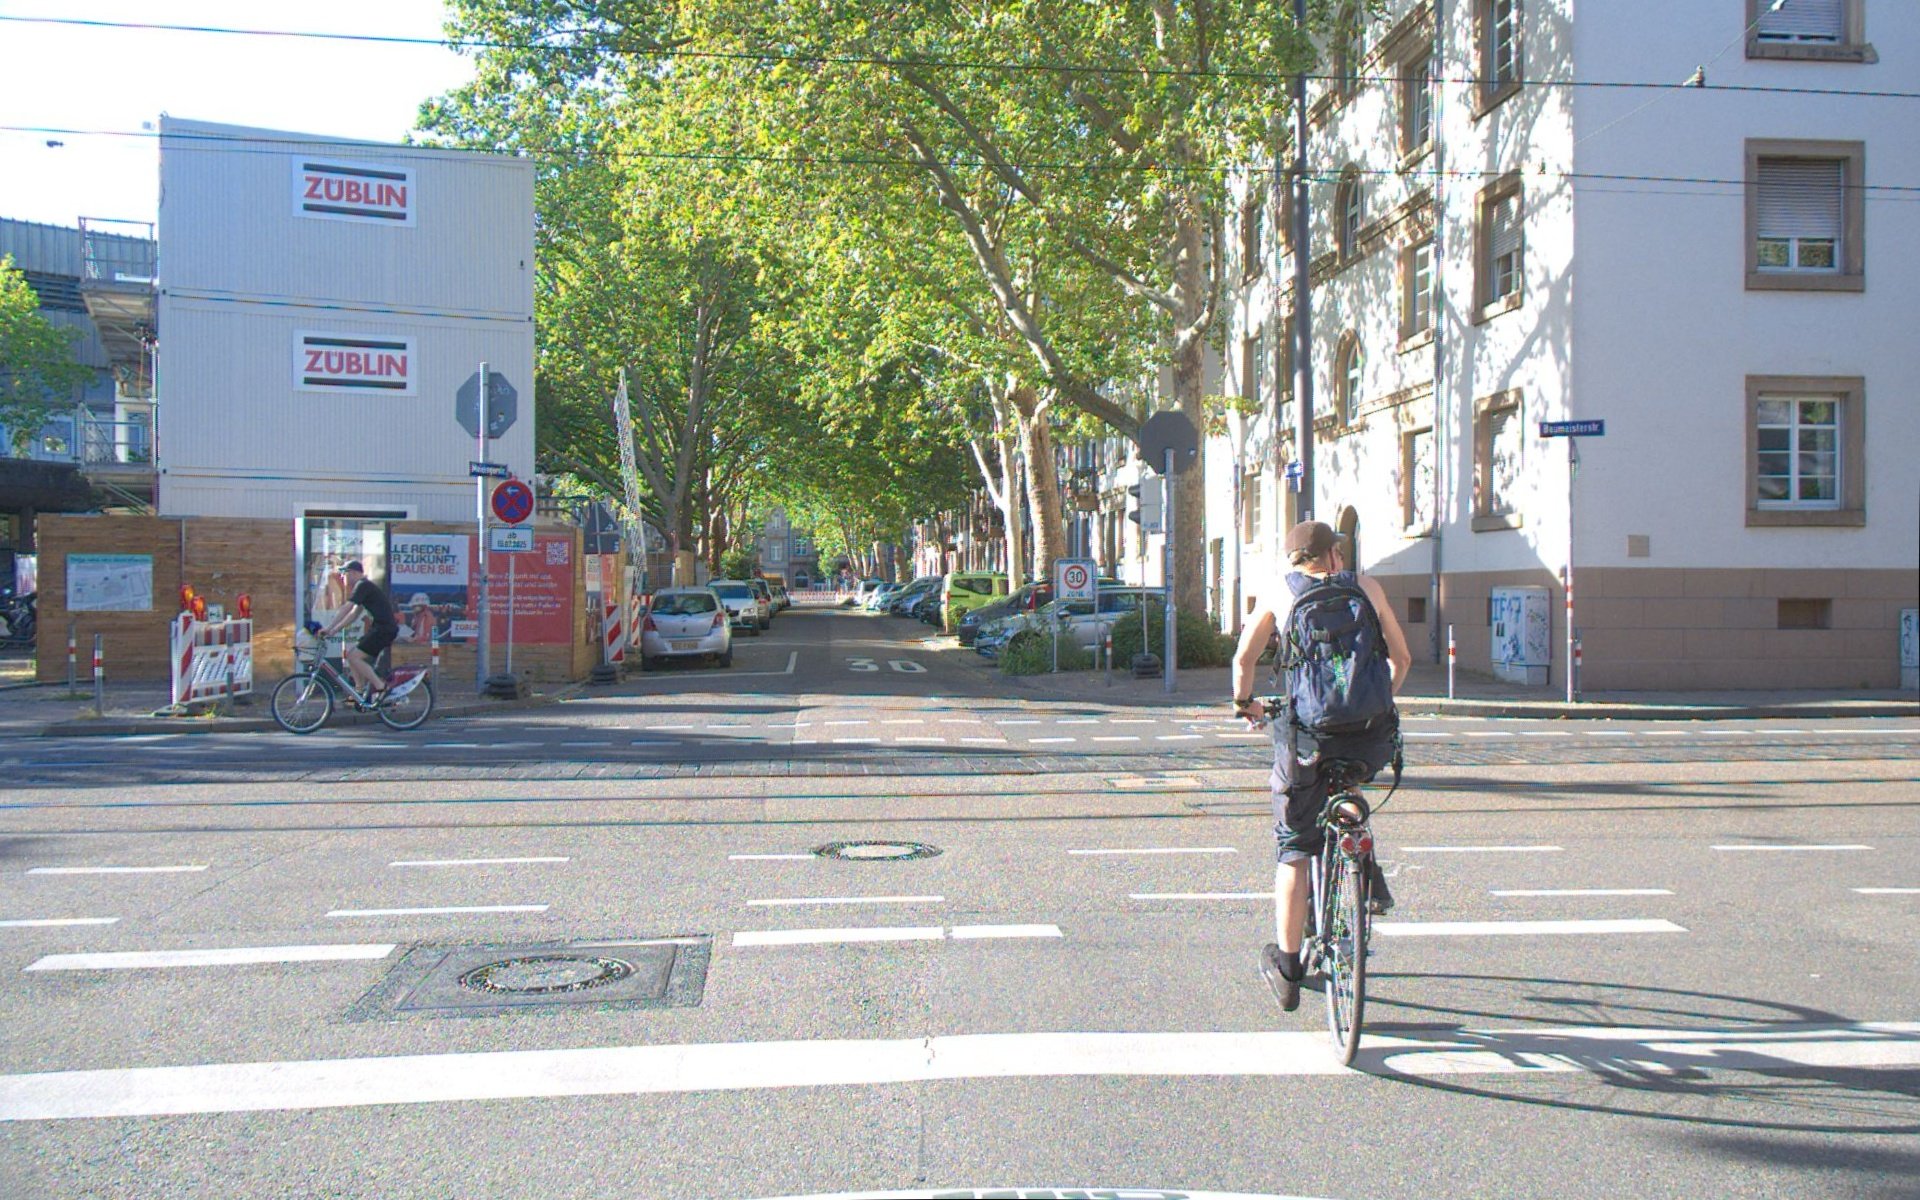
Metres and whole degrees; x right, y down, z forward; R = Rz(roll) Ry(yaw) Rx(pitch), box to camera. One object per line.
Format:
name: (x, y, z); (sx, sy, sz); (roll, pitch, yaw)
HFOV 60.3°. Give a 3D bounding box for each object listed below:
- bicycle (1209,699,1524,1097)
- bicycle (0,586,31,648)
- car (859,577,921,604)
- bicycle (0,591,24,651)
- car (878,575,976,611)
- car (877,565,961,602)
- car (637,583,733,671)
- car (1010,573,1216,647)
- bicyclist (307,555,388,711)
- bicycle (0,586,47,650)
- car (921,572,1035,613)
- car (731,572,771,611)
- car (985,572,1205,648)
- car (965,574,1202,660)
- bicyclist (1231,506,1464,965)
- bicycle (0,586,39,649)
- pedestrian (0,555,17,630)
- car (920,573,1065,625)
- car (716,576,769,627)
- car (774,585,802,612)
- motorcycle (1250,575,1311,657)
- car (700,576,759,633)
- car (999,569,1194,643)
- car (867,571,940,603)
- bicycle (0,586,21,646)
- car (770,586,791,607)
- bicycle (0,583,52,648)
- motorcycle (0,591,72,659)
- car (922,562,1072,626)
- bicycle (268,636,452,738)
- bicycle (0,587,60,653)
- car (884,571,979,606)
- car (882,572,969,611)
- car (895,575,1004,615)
bicycle: (1.349, 0.941, 5.865); (0.675, 1.034, 1.908); (1, 0, 2)
bicycle: (-20.701, 0.364, 34.725); (2.034, 1.279, 0.534); (-1, 2, -44)
car: (-5.079, -0.711, 120.134); (4.376, 1.931, 1.726); (0, 1, -7)
bicycle: (-21.100, 0.459, 35.166); (2.034, 1.279, 0.534); (-1, 2, -44)
car: (-1.528, -0.350, 75.771); (4.376, 1.598, 1.726); (0, 1, -7)
car: (-2.213, -0.890, 88.155); (4.376, 1.931, 1.726); (0, 1, -7)
car: (-5.295, 0.479, 32.245); (1.612, 1.520, 3.994); (-3, 1, -7)
car: (3.401, 0.210, 37.166); (4.376, 1.598, 1.726); (0, 1, -7)
bicyclist: (-6.788, 0.351, 18.331); (0.798, 1.687, 0.677); (-1, 1, -24)
bicycle: (-19.663, 0.372, 33.464); (2.034, 1.279, 0.464); (-1, 2, -44)
car: (0.689, -0.299, 65.506); (4.376, 1.598, 1.726); (0, 1, -7)
car: (-8.923, -0.369, 70.618); (1.633, 1.590, 4.609); (0, 1, -7)
car: (2.800, 0.197, 34.727); (4.376, 1.526, 1.726); (0, 1, -7)
car: (2.370, 0.308, 32.217); (4.376, 1.598, 1.726); (0, 1, -7)
bicyclist: (1.367, 0.455, 5.938); (0.662, 1.539, 0.669); (1, 0, 1)
bicycle: (-20.308, 0.370, 34.293); (2.034, 1.279, 0.534); (-1, 2, -44)
pedestrian: (-26.313, -0.210, 45.293); (0.792, 2.049, 1.021); (-1, 1, -29)
car: (1.000, -0.044, 52.145); (4.376, 1.598, 1.726); (0, 1, -7)
car: (-7.083, 0.011, 53.991); (1.633, 1.590, 4.512); (0, 1, -7)
car: (-10.462, -0.096, 100.377); (1.633, 1.590, 4.213); (0, 1, -7)
motorcycle: (5.485, 0.245, 28.359); (0.504, 1.356, 1.760); (0, 1, -7)
car: (-6.687, 0.092, 48.301); (1.633, 1.590, 3.994); (0, 1, -7)
car: (3.200, 0.121, 39.241); (4.376, 1.700, 1.726); (0, 1, -7)
car: (-3.456, -0.793, 100.897); (4.376, 1.931, 1.726); (0, 1, -7)
bicycle: (-21.448, 0.359, 35.639); (2.034, 1.279, 0.534); (-1, 2, -44)
car: (-14.238, -0.304, 131.038); (1.633, 1.590, 4.213); (0, 1, -7)
bicycle: (-19.345, 0.317, 33.081); (2.034, 1.279, 0.464); (-1, 2, -44)
motorcycle: (-18.388, 0.481, 31.860); (2.194, 1.279, 0.534); (-1, 2, -44)
car: (1.094, -0.195, 50.129); (4.377, 1.868, 1.726); (0, 1, -7)
bicycle: (-6.668, 0.944, 18.388); (1.890, 1.036, 0.677); (-1, 1, -24)
bicycle: (-19.015, 0.406, 32.746); (2.034, 1.279, 0.464); (-1, 2, -44)
car: (-1.370, -0.539, 78.114); (4.376, 1.598, 1.726); (0, 1, -7)
car: (-1.781, -0.449, 85.423); (4.376, 1.931, 1.726); (0, 1, -7)
car: (-0.453, -0.220, 68.608); (4.376, 1.598, 1.726); (0, 1, -7)
